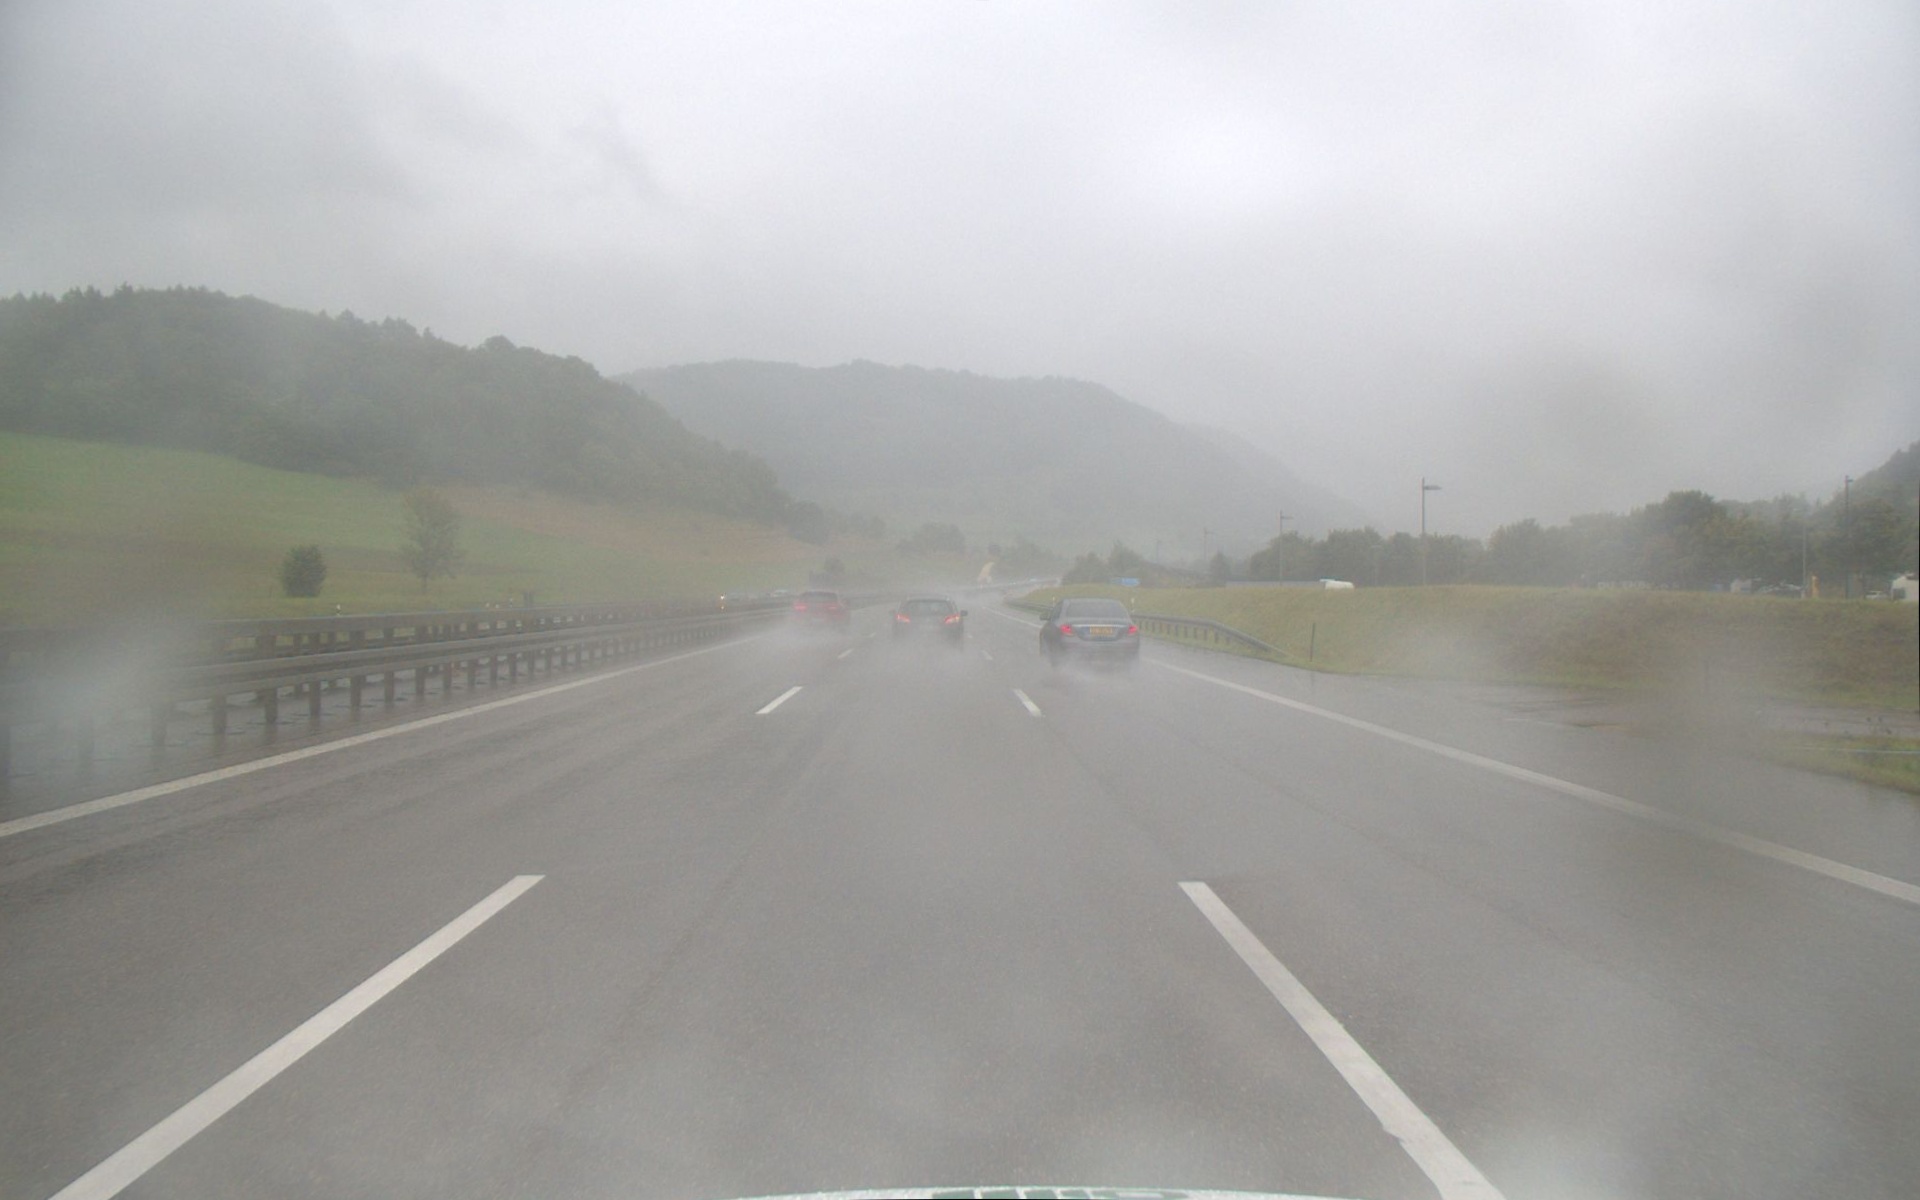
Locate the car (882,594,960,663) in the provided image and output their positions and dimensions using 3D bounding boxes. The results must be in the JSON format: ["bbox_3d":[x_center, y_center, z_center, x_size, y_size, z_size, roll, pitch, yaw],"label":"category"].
[{"bbox_3d":[-0.932,0.677,41.231,1.821,1.617,3.999,1,0,-1],"label":"car"}]

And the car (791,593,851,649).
[{"bbox_3d":[-4.768,0.694,57.149,1.846,1.847,3.999,0,0,-1],"label":"car"}]

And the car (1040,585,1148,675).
[{"bbox_3d":[2.760,0.580,34.895,1.931,1.791,4.000,0,0,-1],"label":"car"}]
